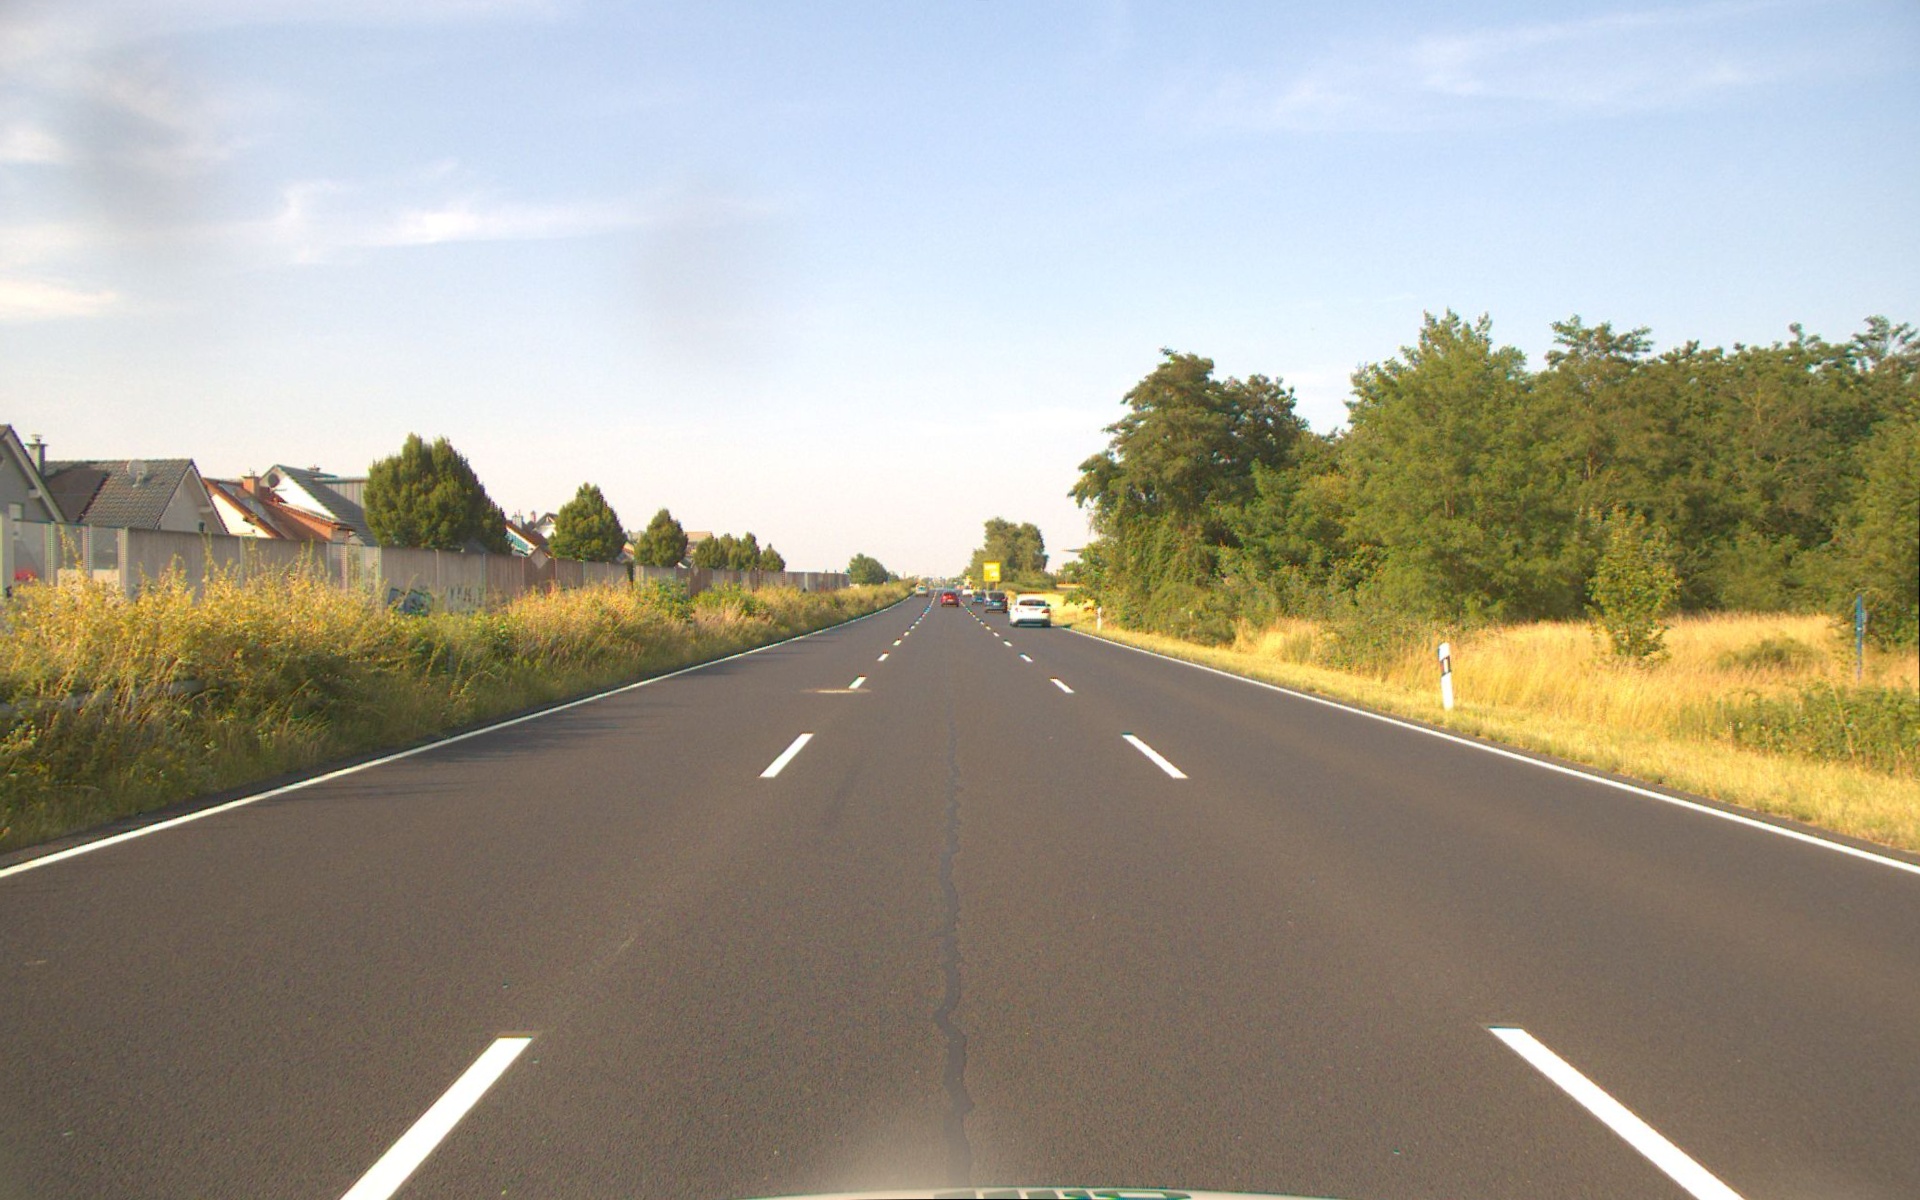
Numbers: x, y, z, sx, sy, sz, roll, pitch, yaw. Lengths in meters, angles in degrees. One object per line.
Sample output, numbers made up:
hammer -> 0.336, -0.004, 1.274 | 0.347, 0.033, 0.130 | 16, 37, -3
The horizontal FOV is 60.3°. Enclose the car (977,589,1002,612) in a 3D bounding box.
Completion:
car -> 2.290, 0.061, 128.115 | 1.791, 1.758, 3.999 | 1, 0, -1

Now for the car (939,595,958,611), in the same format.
car -> -1.087, 0.265, 159.115 | 1.775, 1.461, 3.857 | 1, 0, -2

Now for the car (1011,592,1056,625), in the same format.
car -> 3.514, 0.406, 79.581 | 1.953, 1.543, 3.999 | 1, 0, -1

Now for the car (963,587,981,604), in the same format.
car -> 1.245, -0.468, 174.531 | 1.796, 1.747, 3.862 | 1, 0, 0

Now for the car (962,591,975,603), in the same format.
car -> 1.268, -0.461, 247.370 | 1.809, 1.780, 4.000 | 1, 0, 0

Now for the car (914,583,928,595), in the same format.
car -> -5.642, -1.597, 241.239 | 1.953, 1.747, 3.999 | 1, 0, -1
